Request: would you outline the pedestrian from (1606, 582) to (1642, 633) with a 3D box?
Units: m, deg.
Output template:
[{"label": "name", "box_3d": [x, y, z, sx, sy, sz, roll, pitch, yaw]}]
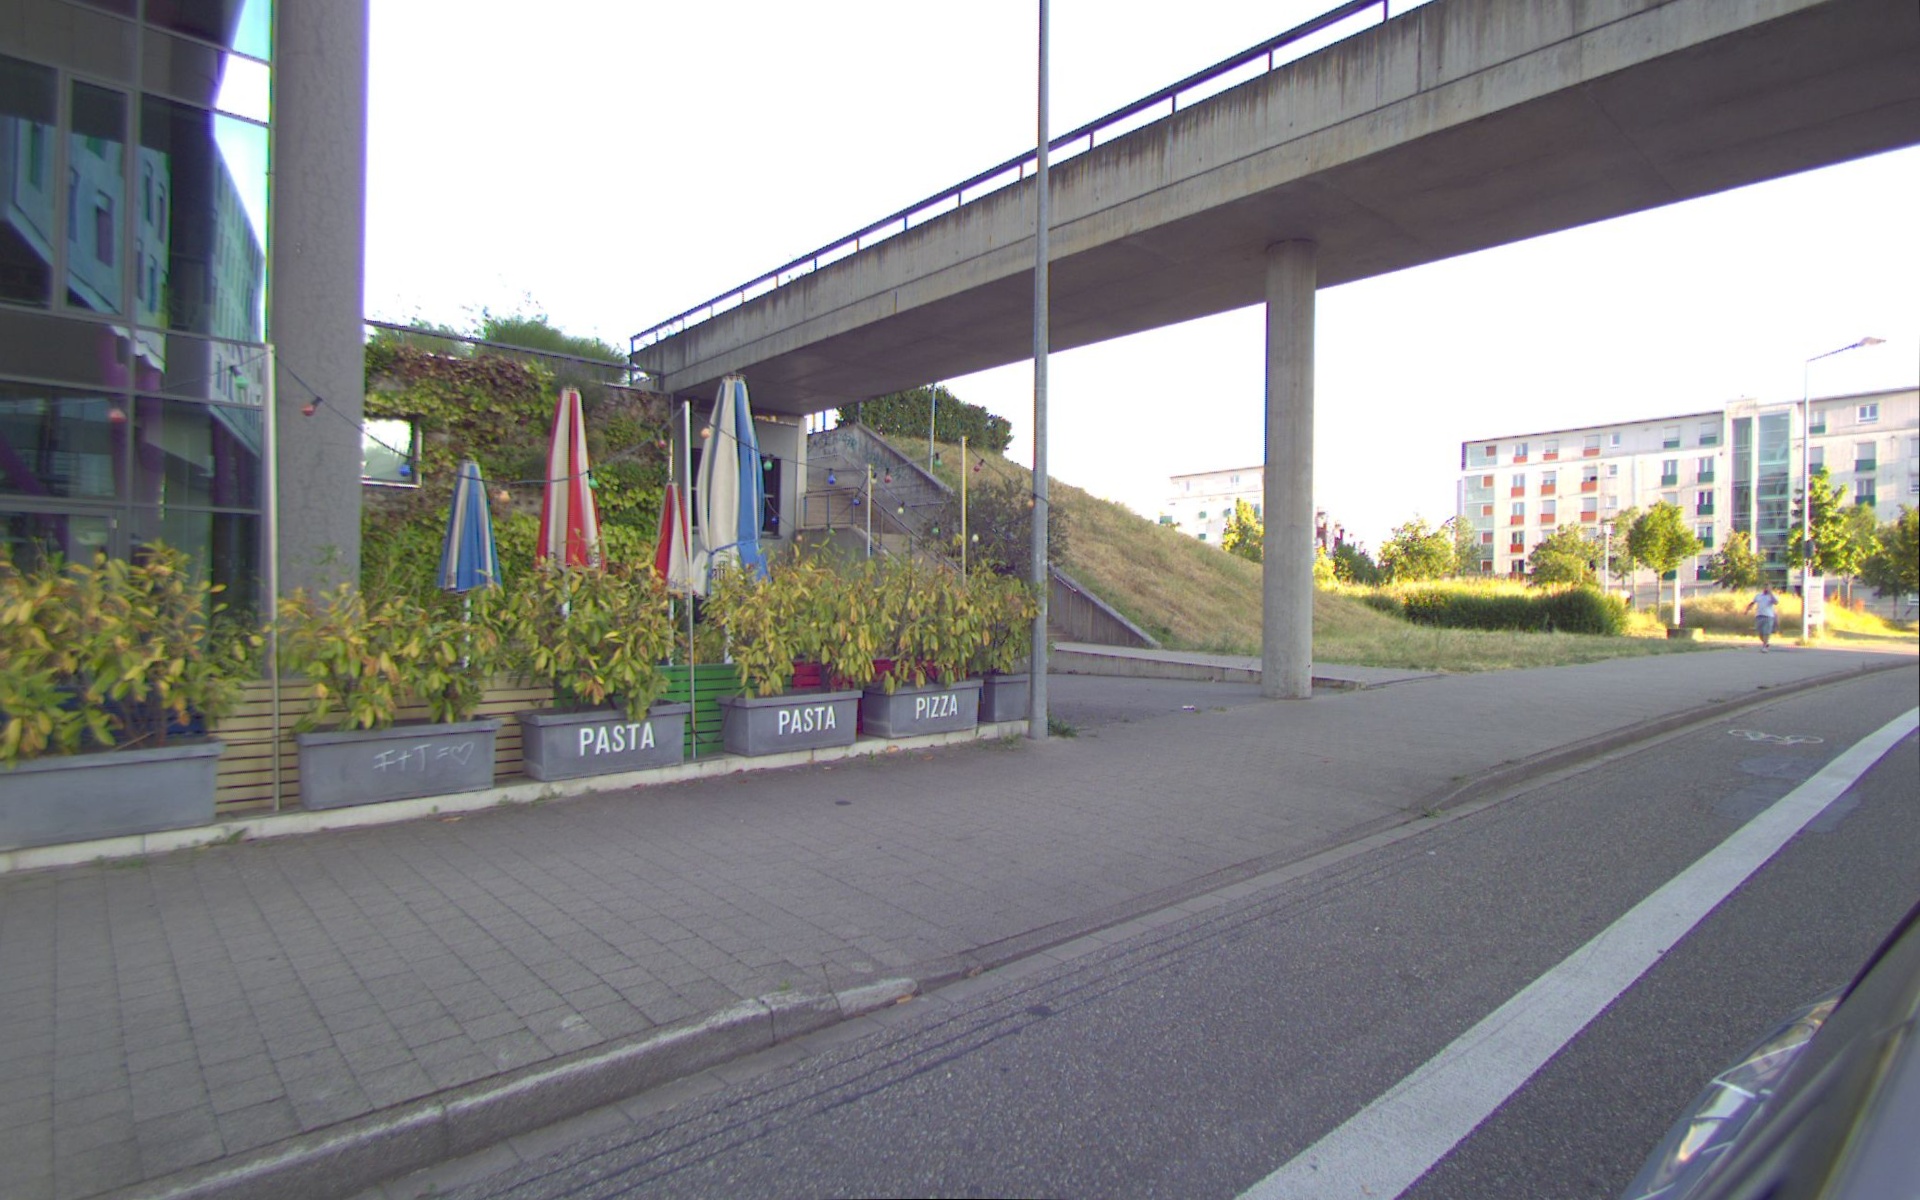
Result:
[{"label": "pedestrian", "box_3d": [21.940, 0.233, 33.446, 0.844, 1.650, 0.737, 1, 2, -40]}]

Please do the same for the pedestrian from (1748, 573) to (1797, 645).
[{"label": "pedestrian", "box_3d": [20.236, 0.209, 25.205, 0.890, 1.745, 0.737, 1, 2, -40]}]
